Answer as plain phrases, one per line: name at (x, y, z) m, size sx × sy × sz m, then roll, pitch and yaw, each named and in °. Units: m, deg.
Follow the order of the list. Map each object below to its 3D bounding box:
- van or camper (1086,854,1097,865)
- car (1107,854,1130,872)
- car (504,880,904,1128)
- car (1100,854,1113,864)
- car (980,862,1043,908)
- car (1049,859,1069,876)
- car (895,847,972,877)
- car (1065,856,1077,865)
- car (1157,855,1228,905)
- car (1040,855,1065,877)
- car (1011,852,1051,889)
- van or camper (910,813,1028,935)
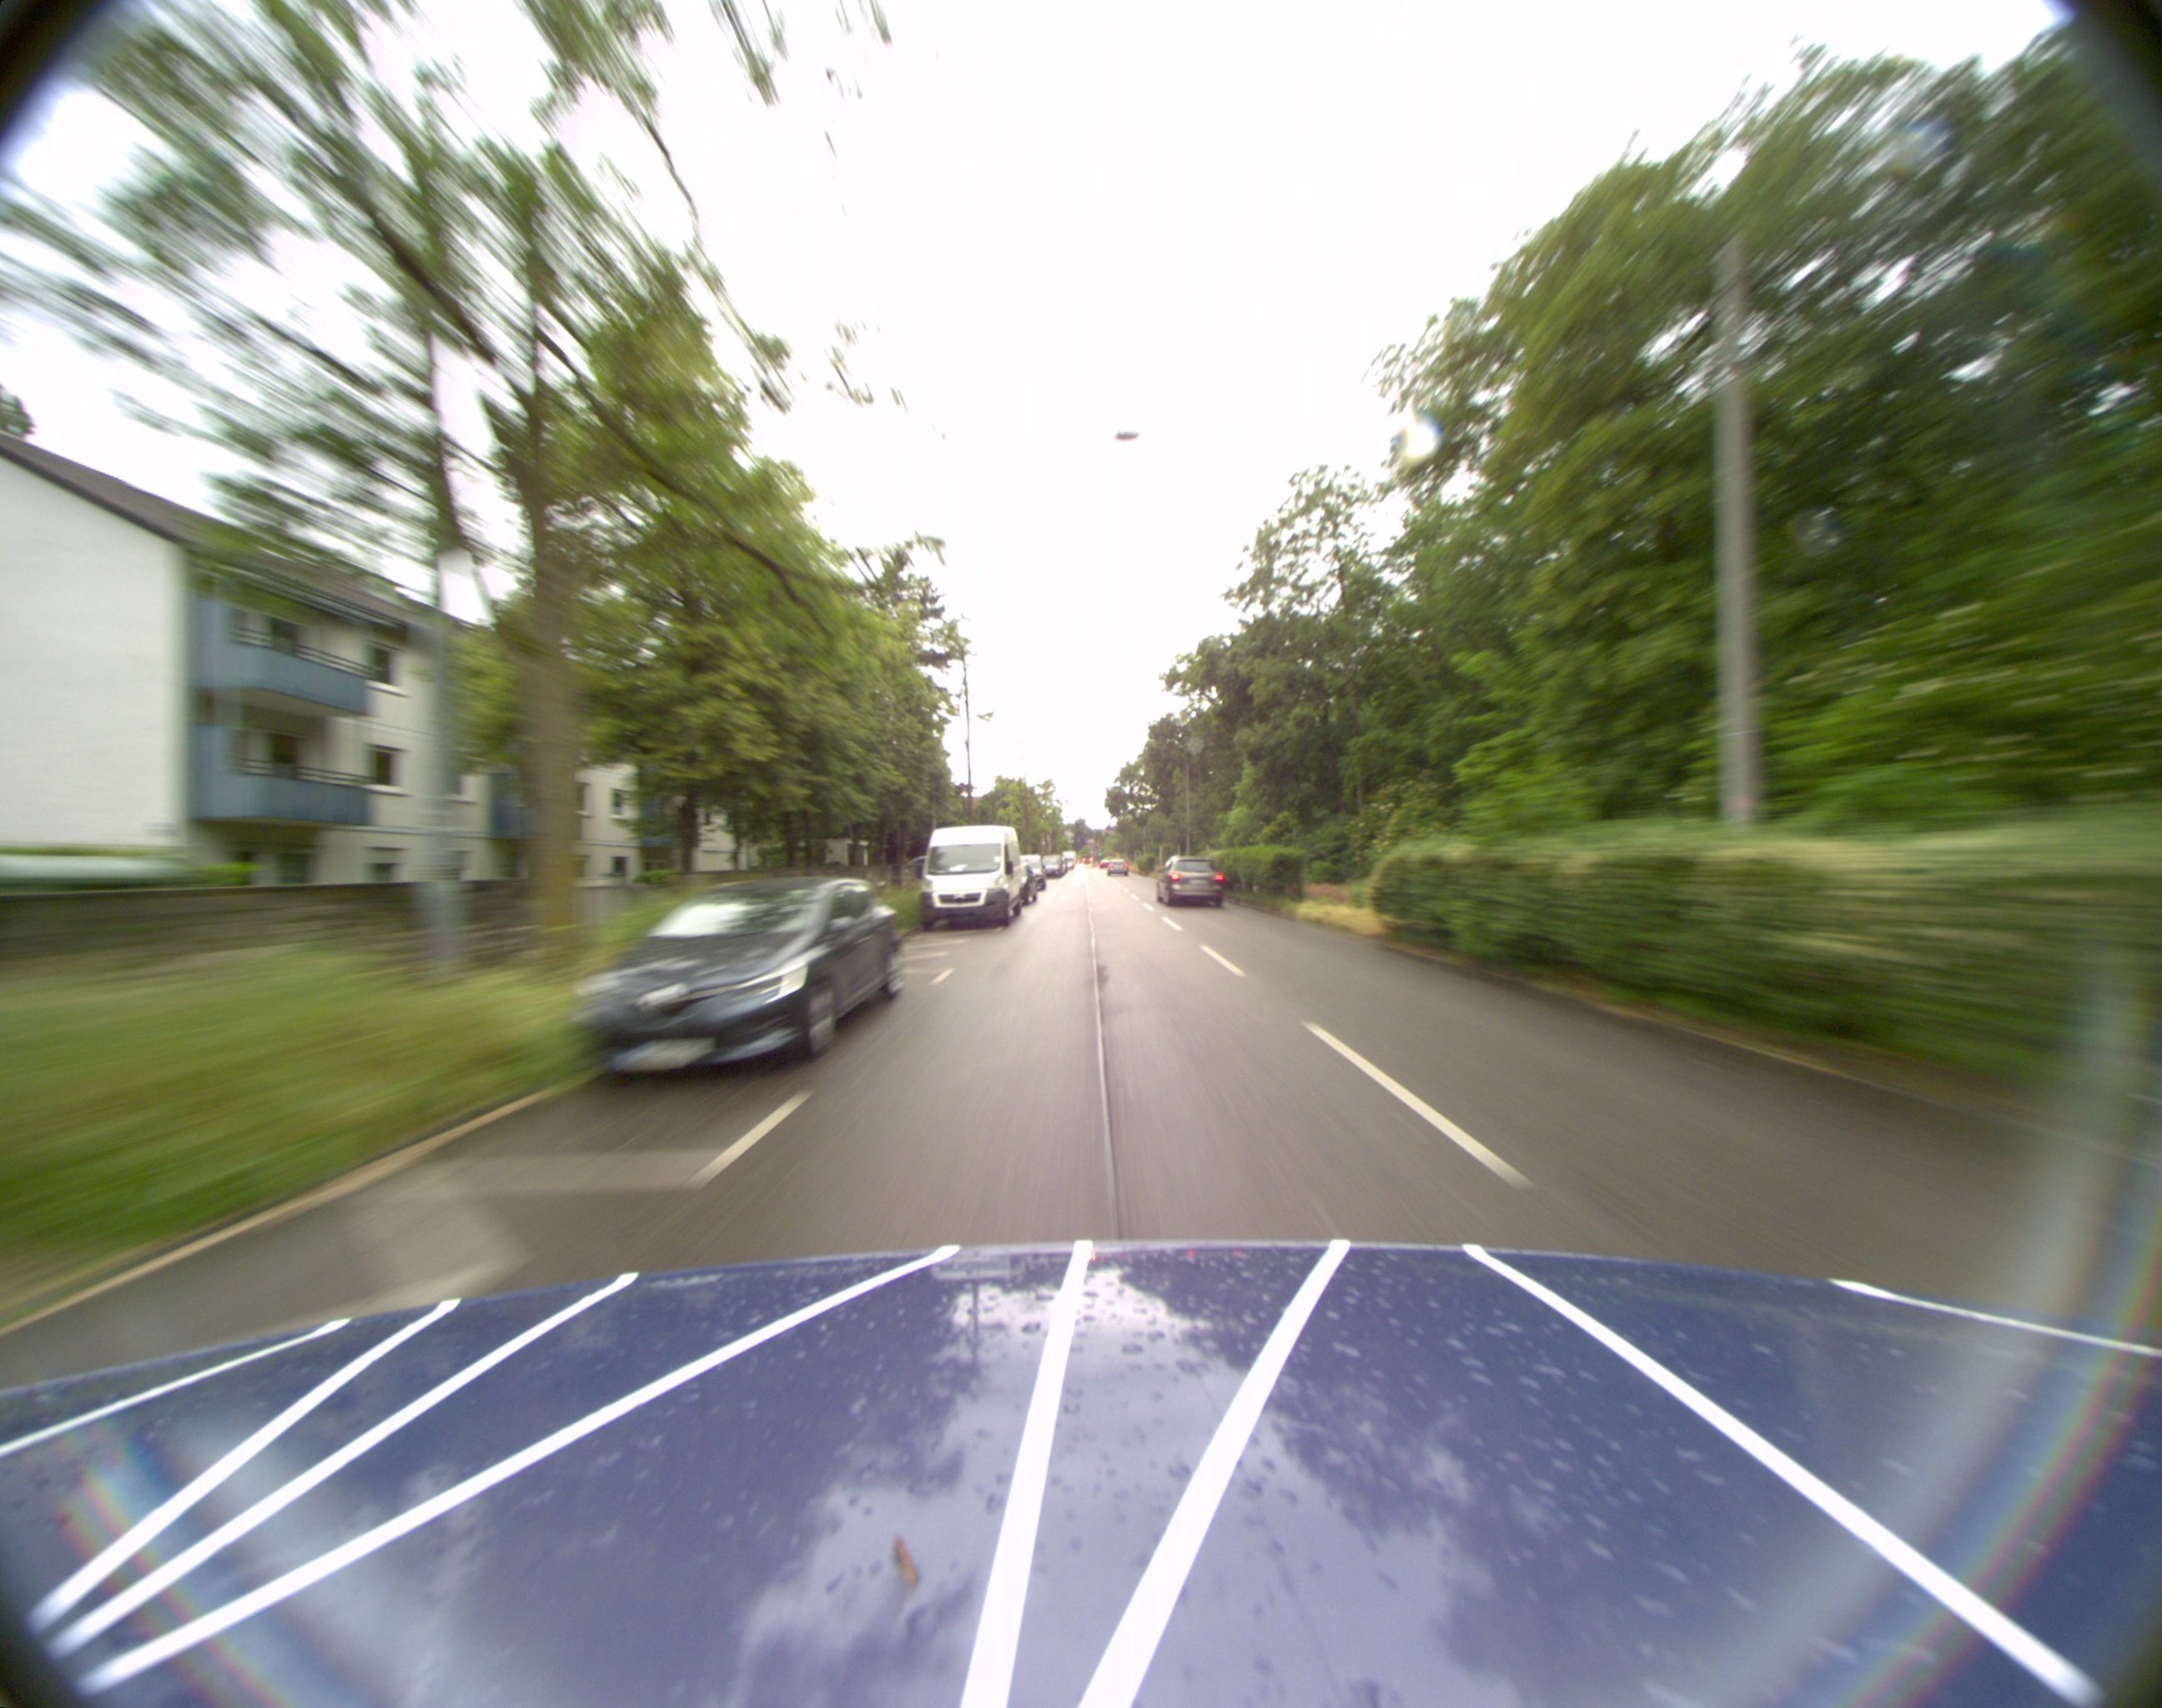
van or camper at (2.989, 1.554, 224.138) m, size 2.862 × 3.159 × 6.852 m, roll -3°, pitch -1°, yaw 3°
car at (3.297, 0.773, 67.063) m, size 1.788 × 1.471 × 3.967 m, roll -1°, pitch 1°, yaw 0°
car at (-2.953, 1.054, 7.017) m, size 1.745 × 1.470 × 3.963 m, roll -3°, pitch -1°, yaw -2°
car at (3.894, 0.741, 117.086) m, size 1.865 × 1.471 × 4.156 m, roll 0°, pitch 0°, yaw 1°
car at (-2.442, 1.067, 27.595) m, size 1.629 × 1.455 × 3.809 m, roll -3°, pitch -1°, yaw 4°
car at (-2.201, 1.330, 76.906) m, size 1.809 × 1.603 × 4.286 m, roll -3°, pitch -1°, yaw 0°
car at (-9.041, 0.474, 46.971) m, size 4.319 × 1.672 × 2.000 m, roll 1°, pitch 1°, yaw 1°
car at (-1.512, 1.019, 118.525) m, size 1.786 × 1.387 × 4.000 m, roll -3°, pitch -1°, yaw -1°
car at (3.512, 0.798, 24.634) m, size 1.734 × 1.483 × 4.000 m, roll 0°, pitch -1°, yaw 0°
car at (-2.362, 0.984, 63.804) m, size 1.778 × 1.712 × 4.327 m, roll -3°, pitch -1°, yaw 1°
car at (-2.593, 0.852, 40.219) m, size 1.819 × 1.802 × 4.282 m, roll -3°, pitch -1°, yaw -1°
van or camper at (-2.694, 0.473, 19.654) m, size 2.084 × 2.635 × 5.346 m, roll -3°, pitch -1°, yaw 0°
